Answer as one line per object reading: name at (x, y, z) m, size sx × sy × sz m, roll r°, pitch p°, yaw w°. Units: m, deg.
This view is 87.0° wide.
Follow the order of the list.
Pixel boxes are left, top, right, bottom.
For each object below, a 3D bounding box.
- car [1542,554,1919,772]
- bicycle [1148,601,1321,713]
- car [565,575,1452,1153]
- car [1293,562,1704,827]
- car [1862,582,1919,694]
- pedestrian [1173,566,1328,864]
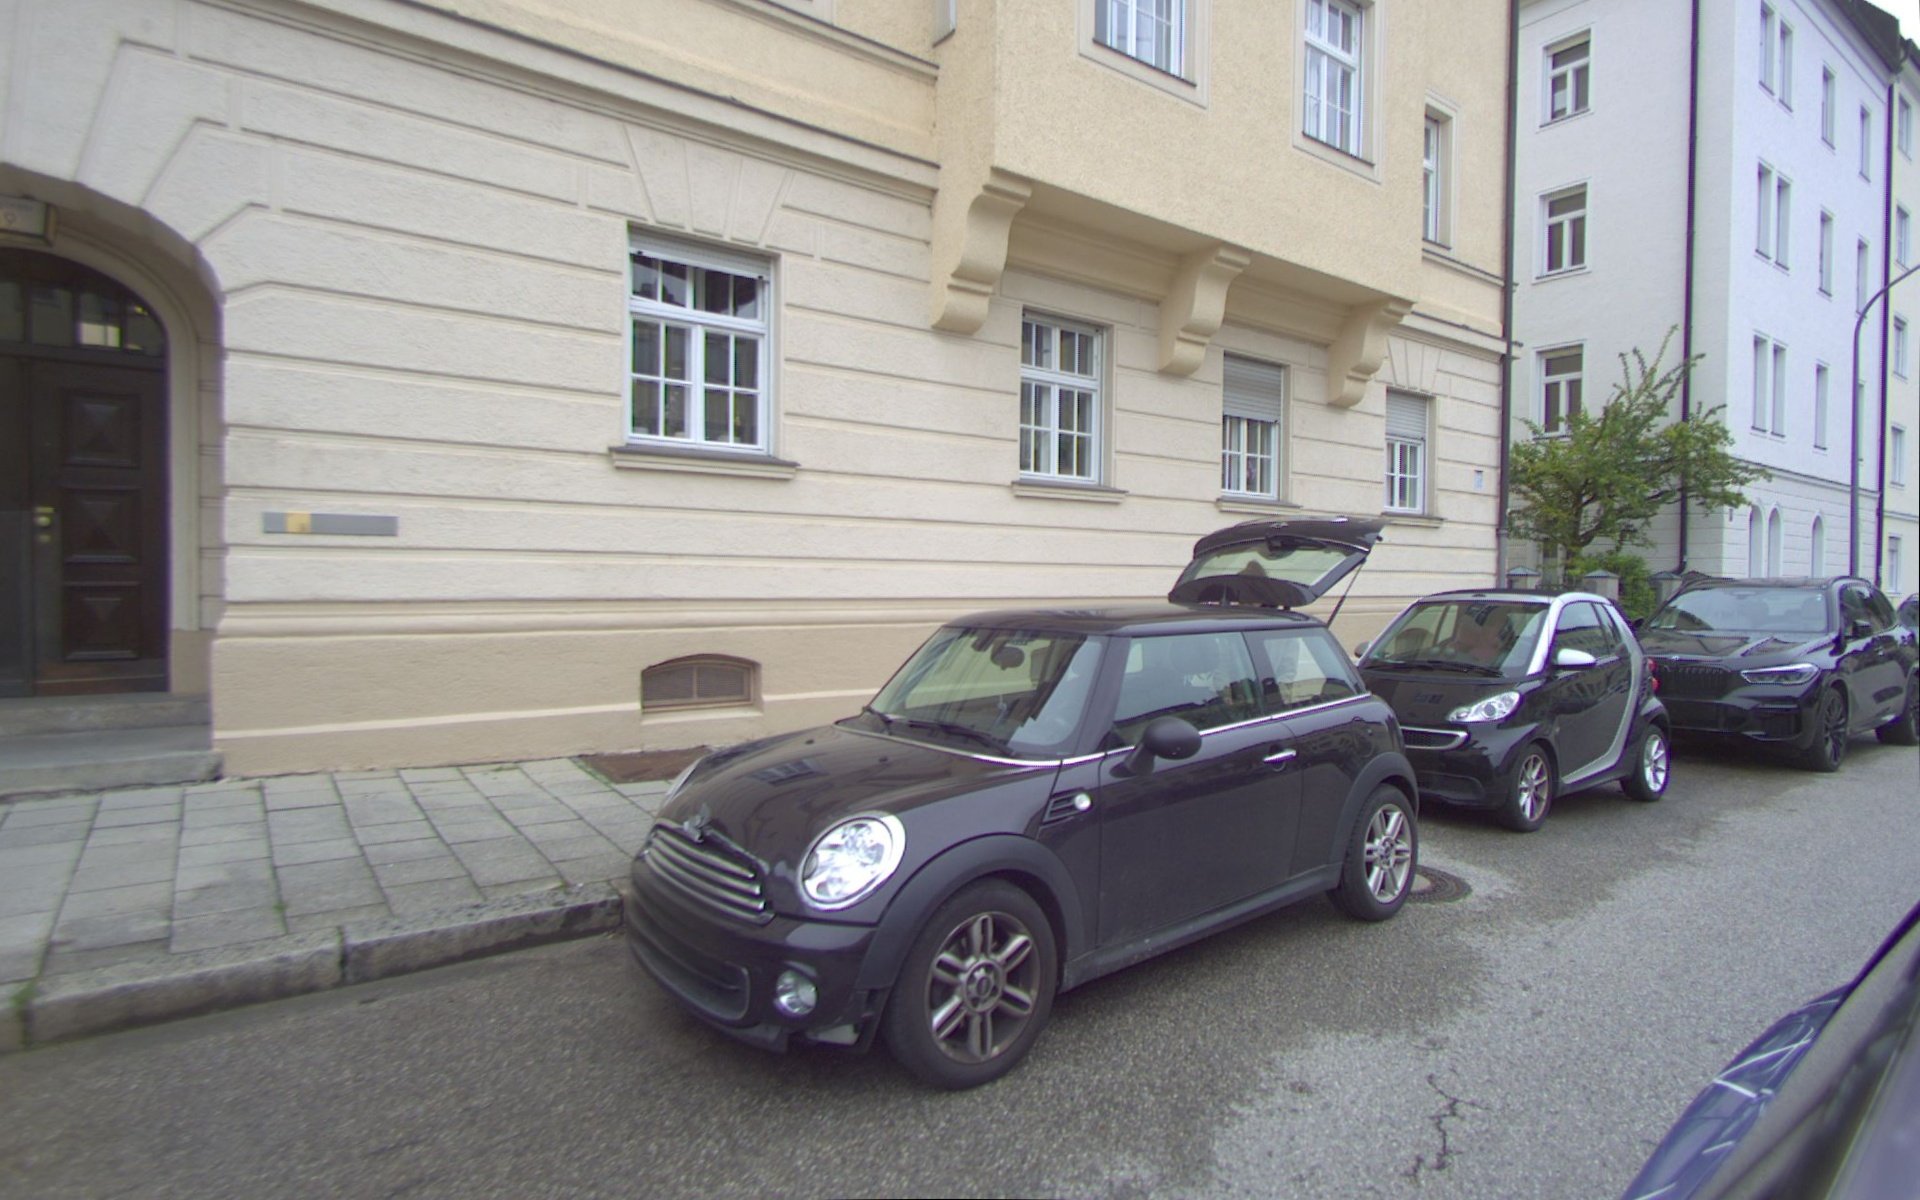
car at (8.343, 0.493, 10.512) m, size 4.929 × 1.761 × 2.176 m, roll 0°, pitch 0°, yaw -36°
bicycle at (2.958, 0.567, 10.790) m, size 2.097 × 1.061 × 0.504 m, roll 0°, pitch 4°, yaw -35°
car at (0.428, 0.642, 4.297) m, size 3.613 × 1.435 × 1.634 m, roll 0°, pitch 0°, yaw -39°
car at (4.031, 0.549, 7.491) m, size 2.961 × 1.574 × 1.519 m, roll 0°, pitch 0°, yaw -35°
car at (16.345, 0.560, 16.363) m, size 4.415 × 1.684 × 1.851 m, roll -1°, pitch 1°, yaw -38°
pedestrian at (1.625, 0.592, 5.681) m, size 0.567 × 1.548 × 0.630 m, roll 0°, pitch 0°, yaw -37°
